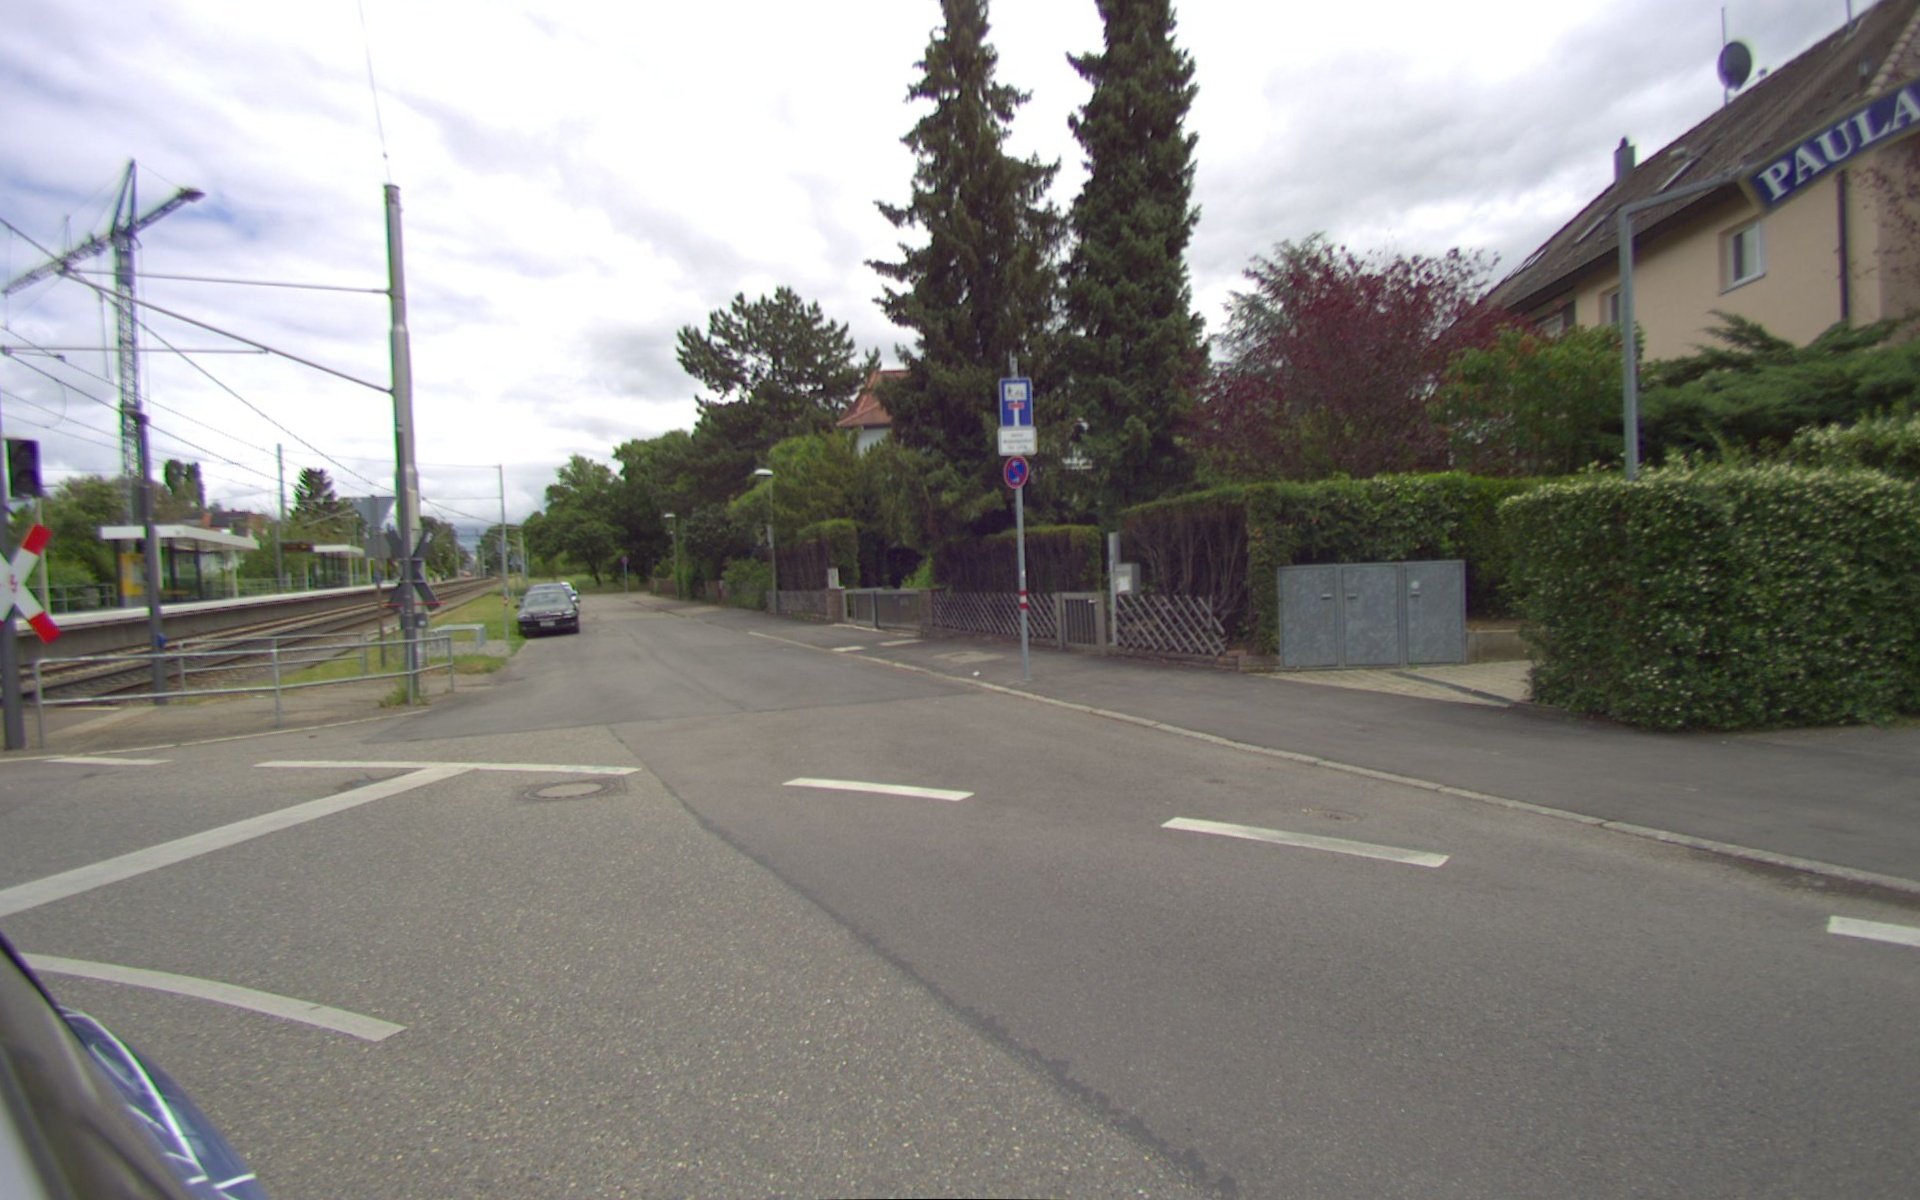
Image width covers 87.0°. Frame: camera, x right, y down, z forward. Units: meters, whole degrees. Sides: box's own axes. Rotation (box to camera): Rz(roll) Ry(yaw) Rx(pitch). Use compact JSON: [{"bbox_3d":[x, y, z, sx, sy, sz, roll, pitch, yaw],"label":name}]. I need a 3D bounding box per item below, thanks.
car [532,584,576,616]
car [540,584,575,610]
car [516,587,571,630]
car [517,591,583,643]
[{"bbox_3d":[-19.840,-0.006,49.455,1.823,1.386,4.013,-4,2,-22],"label":"car"},{"bbox_3d":[-23.758,-0.210,59.735,1.823,1.386,4.013,-4,2,-22],"label":"car"},{"bbox_3d":[-16.327,0.294,39.735,1.823,1.491,4.013,-4,2,-22],"label":"car"},{"bbox_3d":[-13.567,0.508,33.366,1.791,1.512,4.133,-4,2,-24],"label":"car"}]
